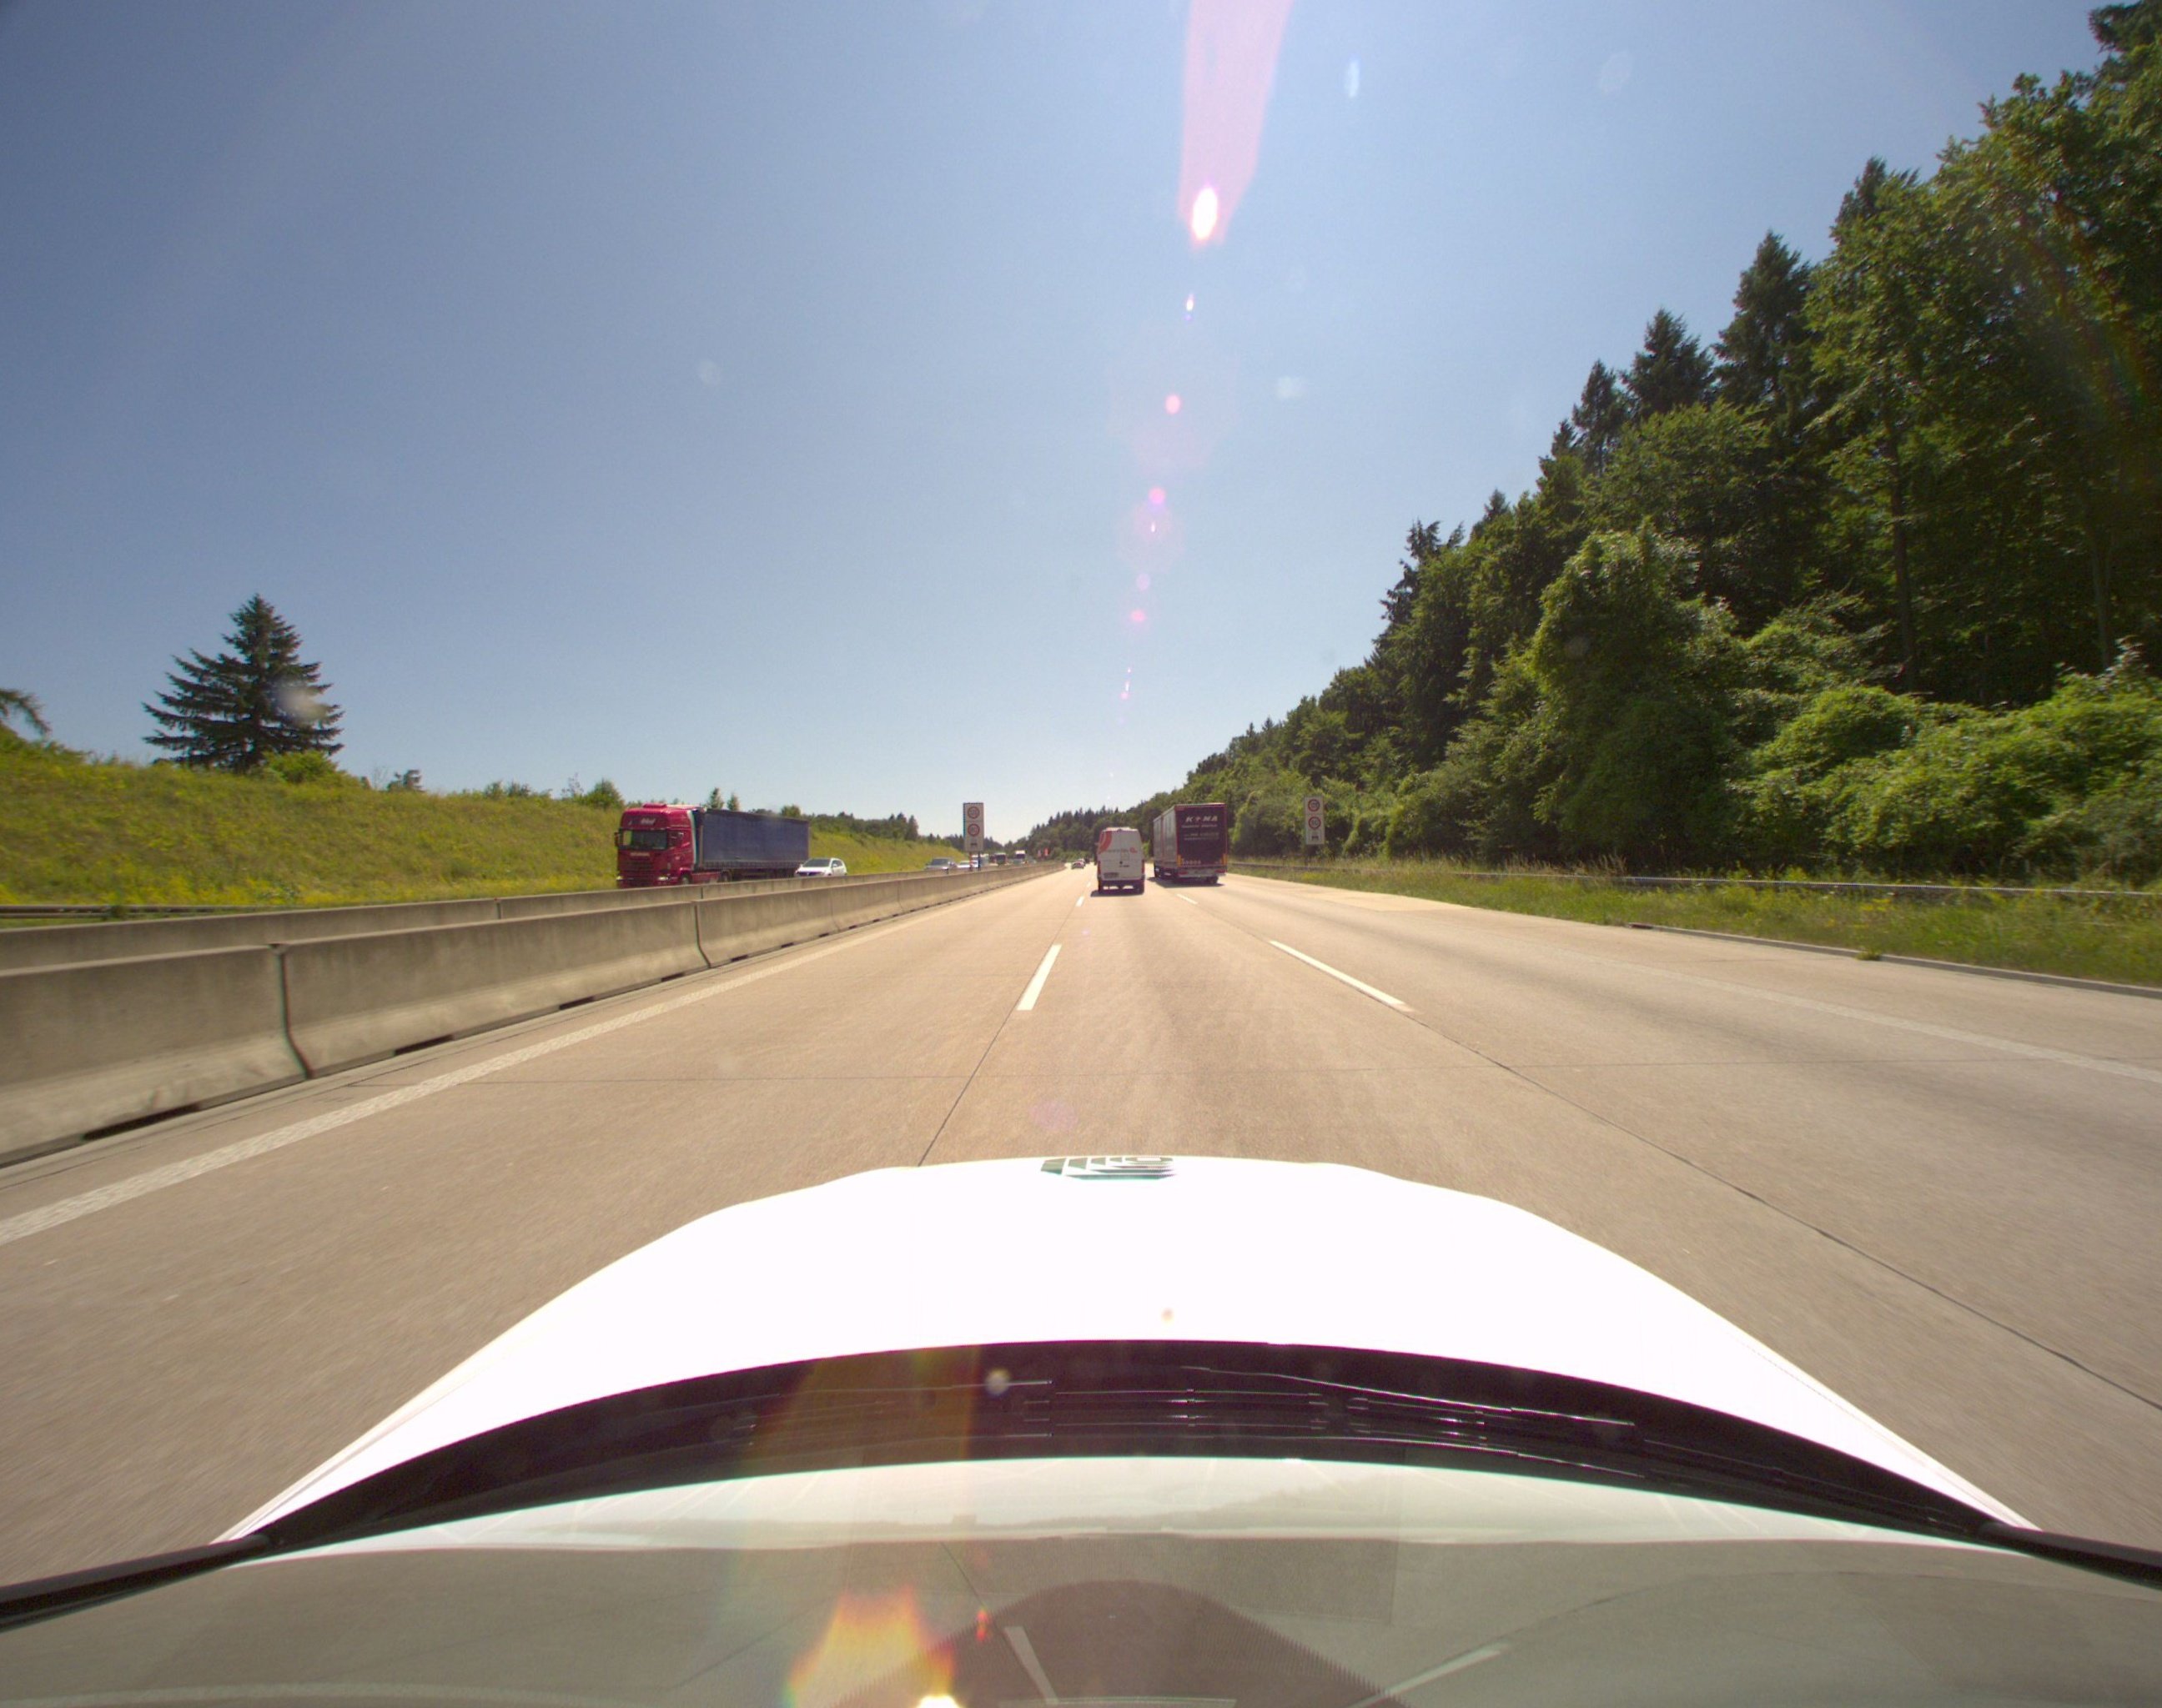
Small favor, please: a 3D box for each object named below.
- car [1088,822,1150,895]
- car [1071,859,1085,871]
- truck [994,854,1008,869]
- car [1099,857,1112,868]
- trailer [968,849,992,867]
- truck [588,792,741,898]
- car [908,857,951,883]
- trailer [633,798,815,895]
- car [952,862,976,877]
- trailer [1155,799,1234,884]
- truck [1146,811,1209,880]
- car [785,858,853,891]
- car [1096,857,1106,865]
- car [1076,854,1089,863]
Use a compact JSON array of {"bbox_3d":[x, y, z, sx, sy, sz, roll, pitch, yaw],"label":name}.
[{"bbox_3d":[1.537,0.169,35.294,2.220,2.844,5.451,-2,0,-1],"label":"car"},{"bbox_3d":[-0.373,1.659,119.699,1.987,1.684,3.999,0,-1,0],"label":"car"},{"bbox_3d":[-18.639,1.694,190.732,2.715,3.413,4.513,0,-1,1],"label":"truck"},{"bbox_3d":[4.024,1.409,132.164,1.985,1.684,4.003,0,-1,3],"label":"car"},{"bbox_3d":[-16.000,0.646,129.730,2.596,2.631,7.784,-1,0,2],"label":"trailer"},{"bbox_3d":[-18.872,-0.347,37.560,3.374,4.431,6.802,0,-1,1],"label":"truck"},{"bbox_3d":[-10.211,1.056,55.118,1.986,1.692,4.373,-1,0,1],"label":"car"},{"bbox_3d":[-18.674,-0.241,44.367,3.374,4.431,13.928,0,-1,2],"label":"trailer"},{"bbox_3d":[-13.384,1.773,93.316,1.986,1.558,4.500,-1,0,2],"label":"car"},{"bbox_3d":[5.955,-0.581,44.459,3.123,4.017,9.090,-2,0,1],"label":"trailer"},{"bbox_3d":[6.226,-0.496,54.297,3.148,4.017,10.611,-2,0,2],"label":"truck"},{"bbox_3d":[-14.089,1.064,44.168,1.986,1.692,4.817,-1,0,2],"label":"car"},{"bbox_3d":[4.017,1.439,163.618,1.985,1.684,4.002,0,-1,3],"label":"car"},{"bbox_3d":[0.231,0.963,157.405,1.991,1.684,3.990,0,-1,-7],"label":"car"}]
